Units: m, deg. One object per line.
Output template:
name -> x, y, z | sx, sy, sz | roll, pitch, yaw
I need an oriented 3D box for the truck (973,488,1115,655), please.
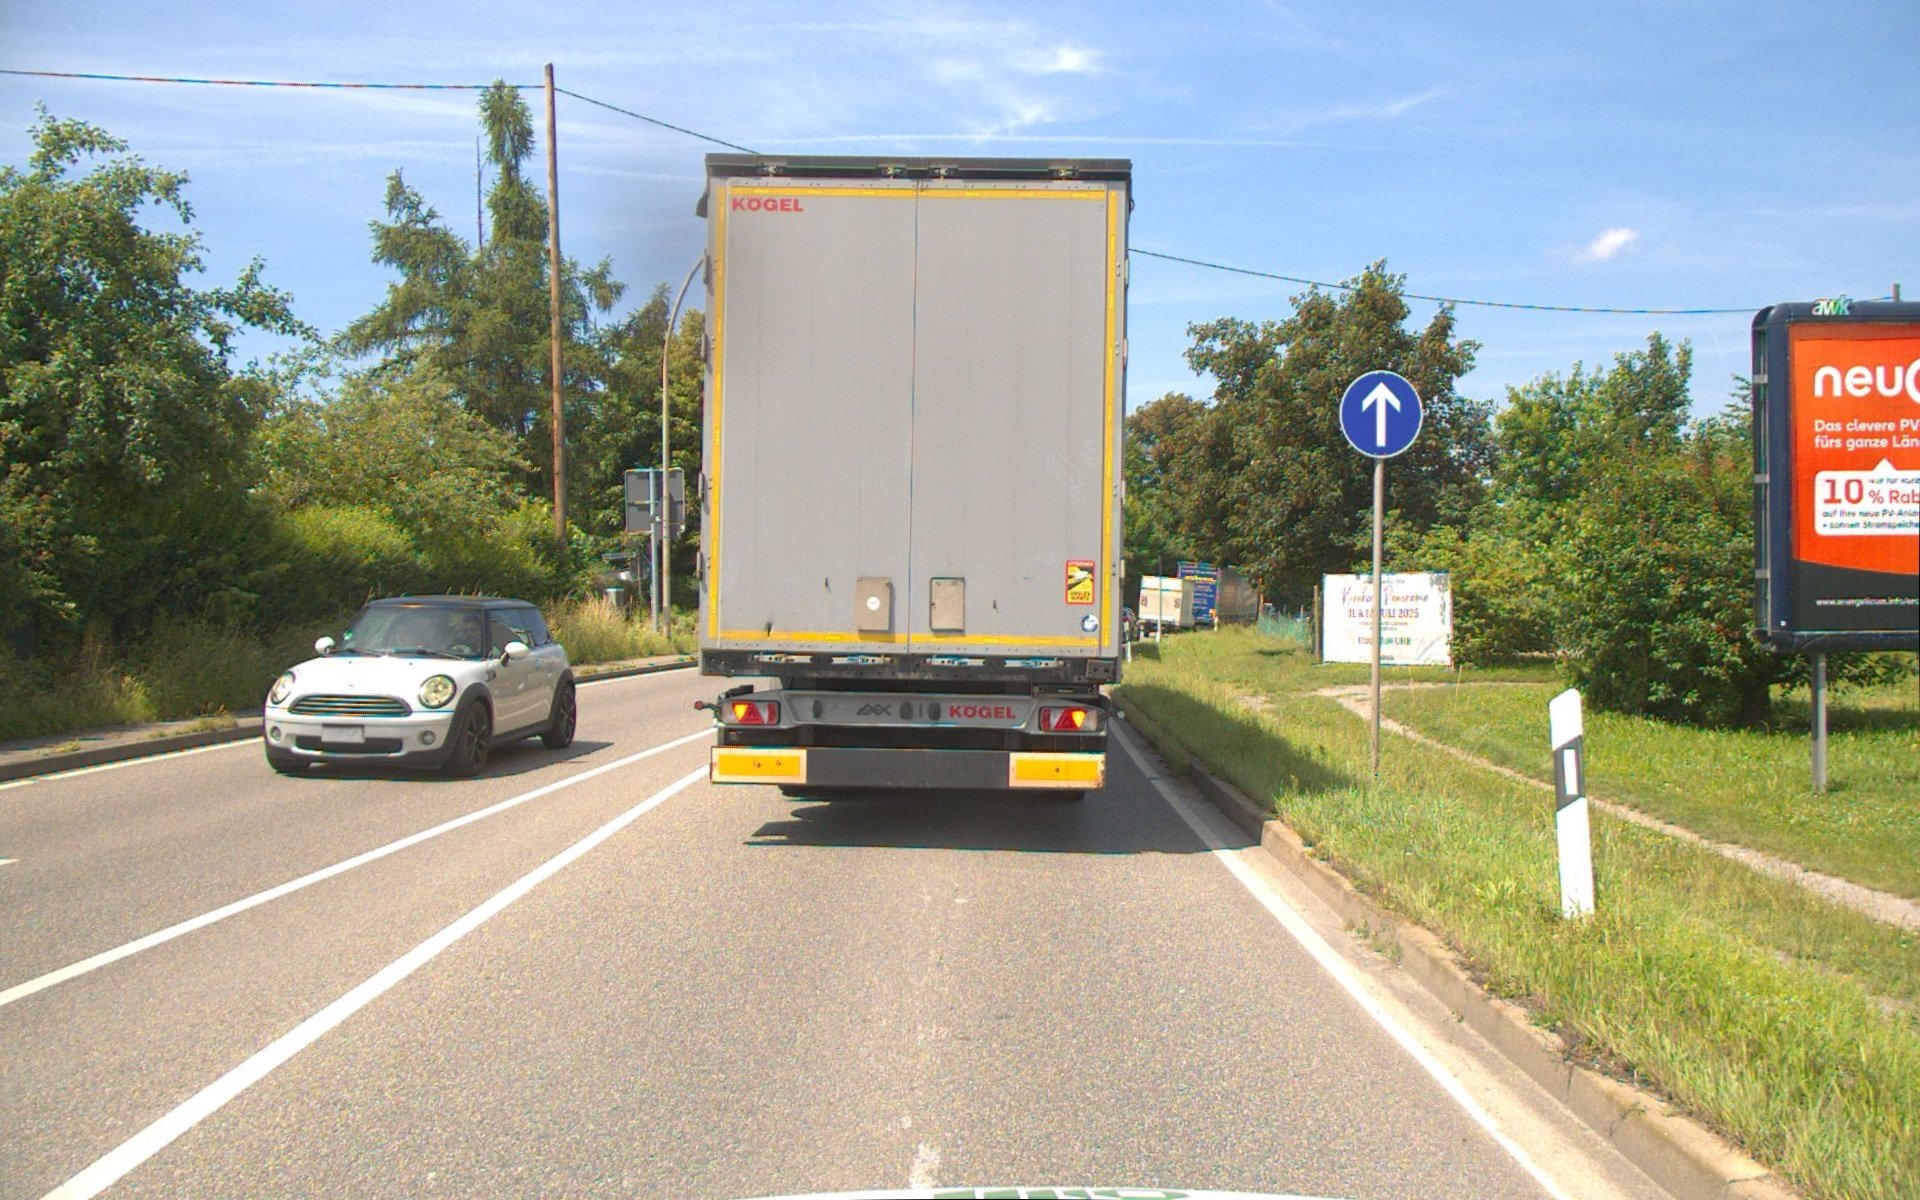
truck -> 2.691, -0.807, 50.047 | 3.853, 4.655, 7.157 | 0, 0, 6

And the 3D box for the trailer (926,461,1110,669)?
trailer -> 1.851, -0.784, 43.087 | 3.808, 4.600, 12.722 | 0, 0, 6

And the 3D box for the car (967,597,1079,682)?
car -> 1.327, 0.750, 33.330 | 1.951, 1.556, 4.003 | 1, 1, 6

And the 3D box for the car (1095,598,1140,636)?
car -> 6.709, 0.692, 70.402 | 1.802, 1.512, 4.003 | 1, 1, 6

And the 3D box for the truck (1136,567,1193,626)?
truck -> 10.487, -0.216, 84.592 | 2.369, 2.888, 5.417 | 1, 1, 12

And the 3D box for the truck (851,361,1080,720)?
truck -> 0.265, -0.750, 22.740 | 2.688, 4.238, 6.146 | 1, 1, 4

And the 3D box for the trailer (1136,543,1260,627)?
trailer -> 14.842, -0.930, 101.290 | 5.070, 4.709, 15.904 | 1, 1, 17

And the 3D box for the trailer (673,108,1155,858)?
trailer -> -0.060, -0.749, 15.550 | 2.729, 4.278, 12.115 | 1, 1, 2

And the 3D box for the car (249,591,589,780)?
car -> -4.532, 0.640, 14.388 | 1.588, 1.406, 3.562 | 1, 1, 4

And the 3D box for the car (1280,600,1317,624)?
car -> 25.369, 0.908, 123.870 | 1.953, 1.713, 4.000 | 1, 1, 22
